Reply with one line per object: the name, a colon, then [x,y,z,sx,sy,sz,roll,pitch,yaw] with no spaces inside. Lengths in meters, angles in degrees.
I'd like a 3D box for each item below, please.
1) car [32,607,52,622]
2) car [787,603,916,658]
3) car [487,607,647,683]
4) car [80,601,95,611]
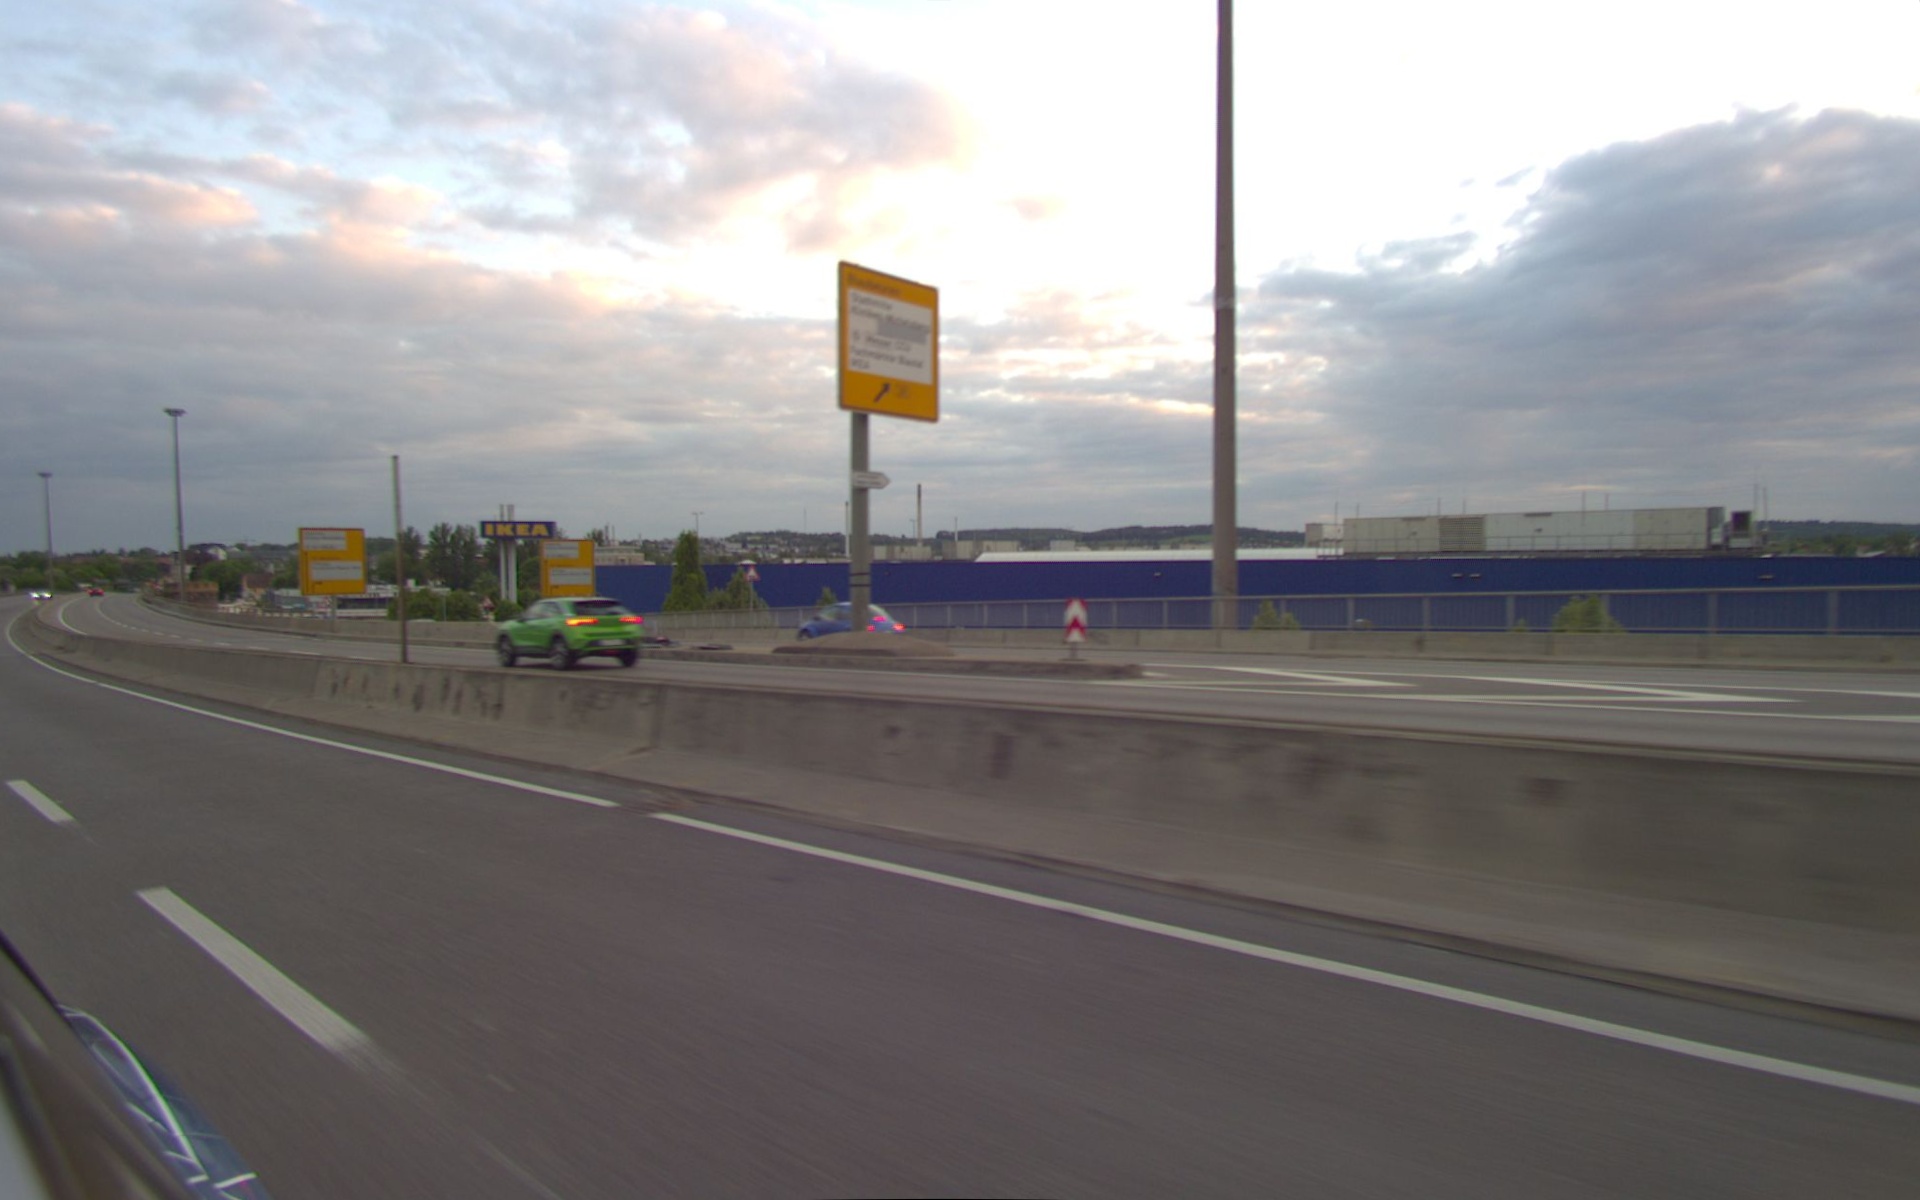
car: [-139.358,2.153,153.607,1.968,2.028,4.007,-1,2,-39]
car: [-3.508,0.953,32.178,1.876,1.608,4.165,-1,-1,-45]
car: [-8.725,0.928,22.317,4.081,1.506,1.692,-1,-1,43]
car: [-144.751,0.977,167.867,1.807,1.491,4.294,-1,1,-41]
